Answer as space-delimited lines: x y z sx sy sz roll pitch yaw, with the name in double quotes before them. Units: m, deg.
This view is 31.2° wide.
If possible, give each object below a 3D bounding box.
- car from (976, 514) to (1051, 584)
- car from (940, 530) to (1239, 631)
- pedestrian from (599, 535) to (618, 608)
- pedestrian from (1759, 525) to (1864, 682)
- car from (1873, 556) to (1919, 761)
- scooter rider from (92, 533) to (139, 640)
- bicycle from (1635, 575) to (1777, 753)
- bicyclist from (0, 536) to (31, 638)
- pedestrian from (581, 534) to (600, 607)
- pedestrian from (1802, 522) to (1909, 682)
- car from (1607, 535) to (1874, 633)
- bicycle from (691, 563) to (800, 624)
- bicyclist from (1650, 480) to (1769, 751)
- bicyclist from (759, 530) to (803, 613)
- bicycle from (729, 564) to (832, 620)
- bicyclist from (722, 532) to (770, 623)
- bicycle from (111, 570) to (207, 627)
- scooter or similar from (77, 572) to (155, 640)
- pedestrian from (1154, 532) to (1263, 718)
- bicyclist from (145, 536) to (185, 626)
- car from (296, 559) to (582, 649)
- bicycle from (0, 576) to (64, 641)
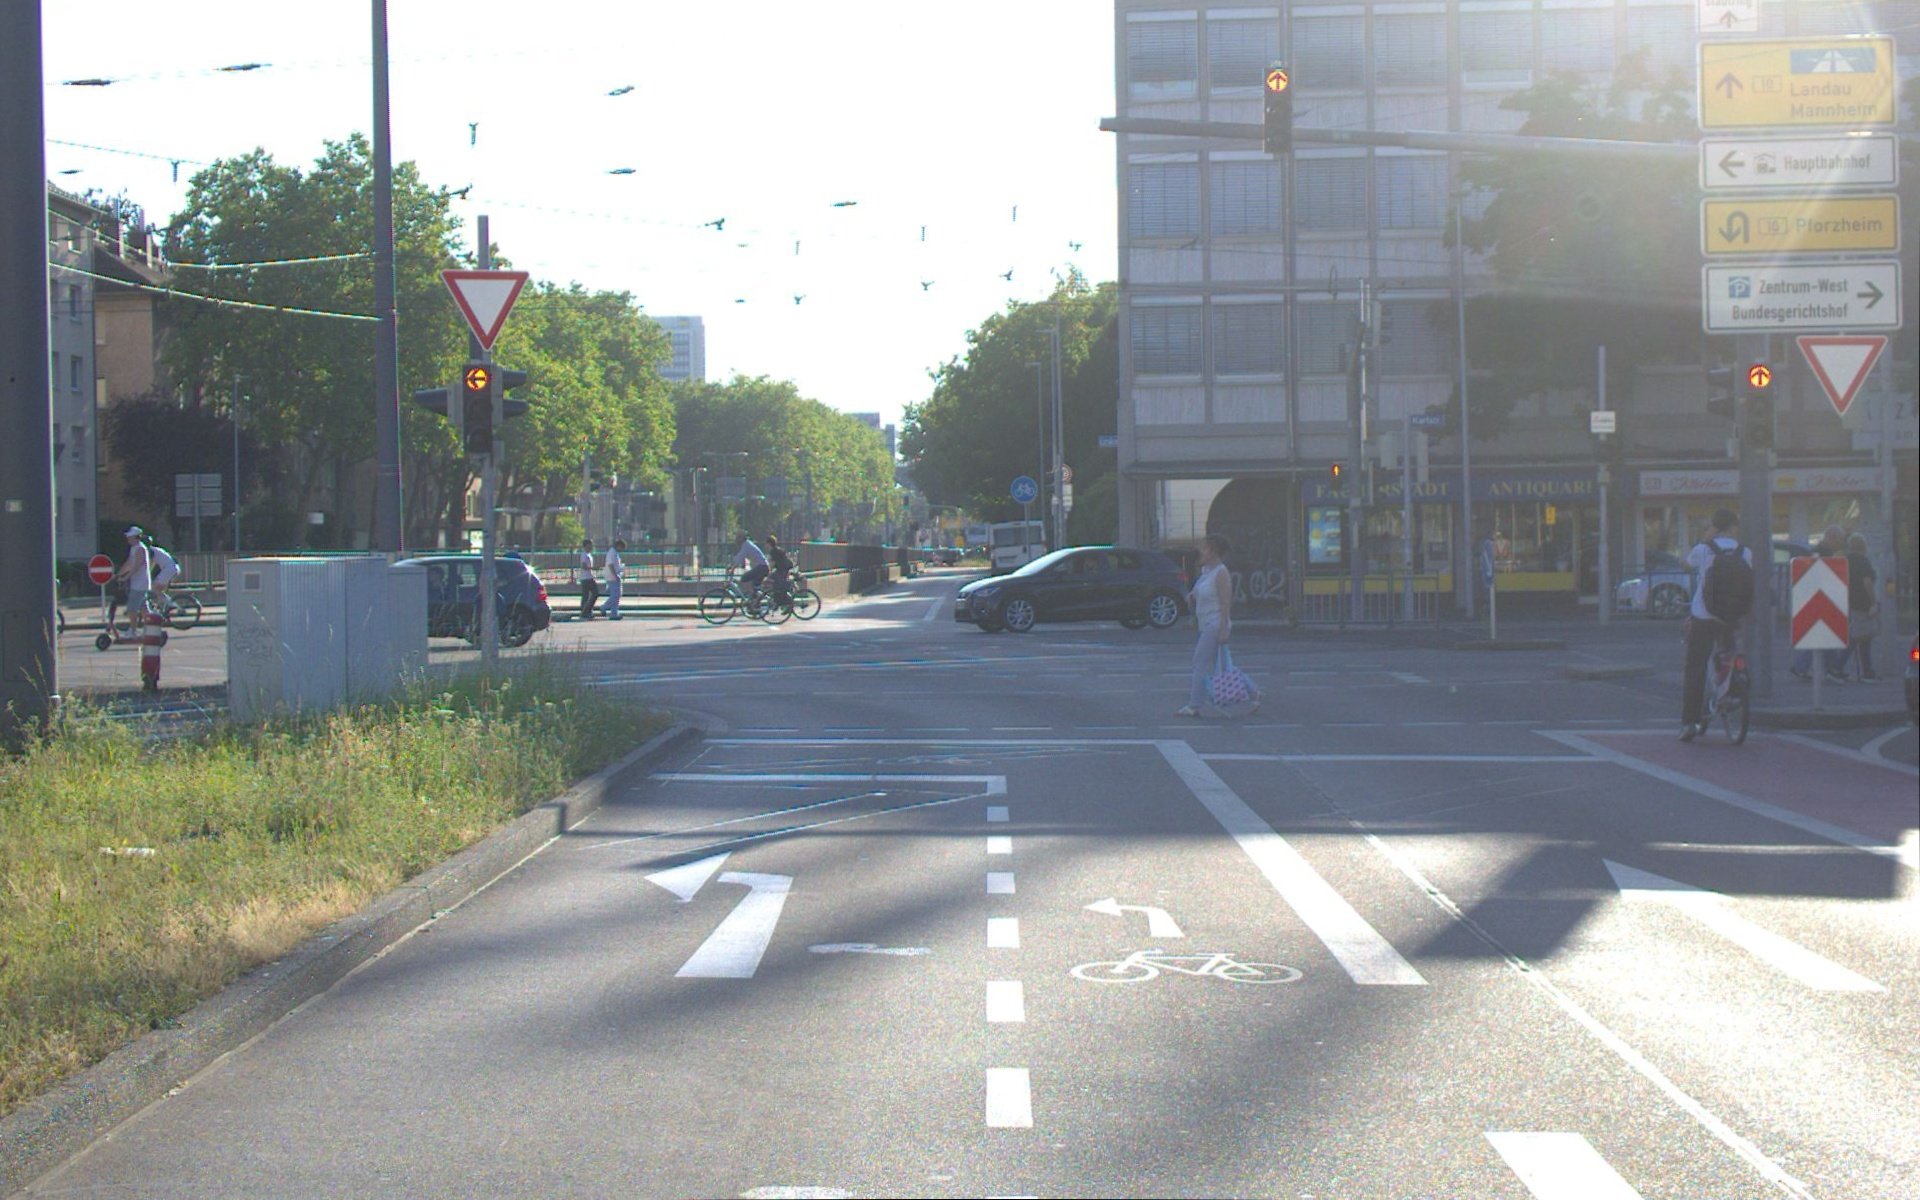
"car" 1.902 -1.834 124.110 2.486 2.384 5.934 -2 1 0
"car" 2.183 -0.350 58.801 4.763 1.590 2.001 -1 1 -10
"pedestrian" -7.340 -0.596 71.780 0.365 1.502 0.543 -1 1 -6
"pedestrian" 8.808 0.027 35.579 0.878 1.592 0.655 -1 1 -2
"car" 8.328 0.379 25.092 1.747 1.421 3.991 0 1 39
"scooter rider" -13.648 -0.226 55.581 0.663 1.706 0.527 -1 1 -9
"bicycle" 5.686 0.462 26.301 0.644 1.219 2.048 1 3 1
"bicyclist" -16.051 -0.219 57.940 0.663 1.706 0.538 -1 1 -9
"pedestrian" -7.646 -0.605 71.174 0.365 1.502 0.543 -1 1 -6
"pedestrian" 9.084 0.015 34.884 0.878 1.592 0.655 -1 1 -2
"car" 13.460 -0.283 59.515 4.333 1.590 1.999 -1 1 8
"bicycle" -4.189 -0.133 67.082 2.093 1.133 0.658 -1 1 -4
"bicyclist" 5.704 0.099 26.203 0.643 2.006 1.067 1 2 1
"bicyclist" -3.848 -0.617 74.005 0.898 1.747 0.650 -1 1 -3
"bicycle" -3.865 -0.177 74.014 2.173 1.133 0.659 -1 1 -4
"bicyclist" -4.178 -0.440 67.079 0.898 1.747 0.655 -1 1 -3
"bicycle" -15.293 -0.033 65.671 1.731 1.056 0.539 -1 1 -9
"scooter or similar" -13.642 0.099 55.581 1.171 1.068 0.530 -1 1 -9
"pedestrian" 2.168 0.212 30.065 0.878 1.592 0.655 -1 1 0
"bicyclist" -15.186 -0.368 65.681 0.663 1.706 0.538 -1 1 -9
"car" -8.133 0.040 53.784 3.988 1.284 1.847 -2 1 -36
"bicycle" -16.056 0.145 57.949 1.775 1.068 0.535 -1 1 -9
